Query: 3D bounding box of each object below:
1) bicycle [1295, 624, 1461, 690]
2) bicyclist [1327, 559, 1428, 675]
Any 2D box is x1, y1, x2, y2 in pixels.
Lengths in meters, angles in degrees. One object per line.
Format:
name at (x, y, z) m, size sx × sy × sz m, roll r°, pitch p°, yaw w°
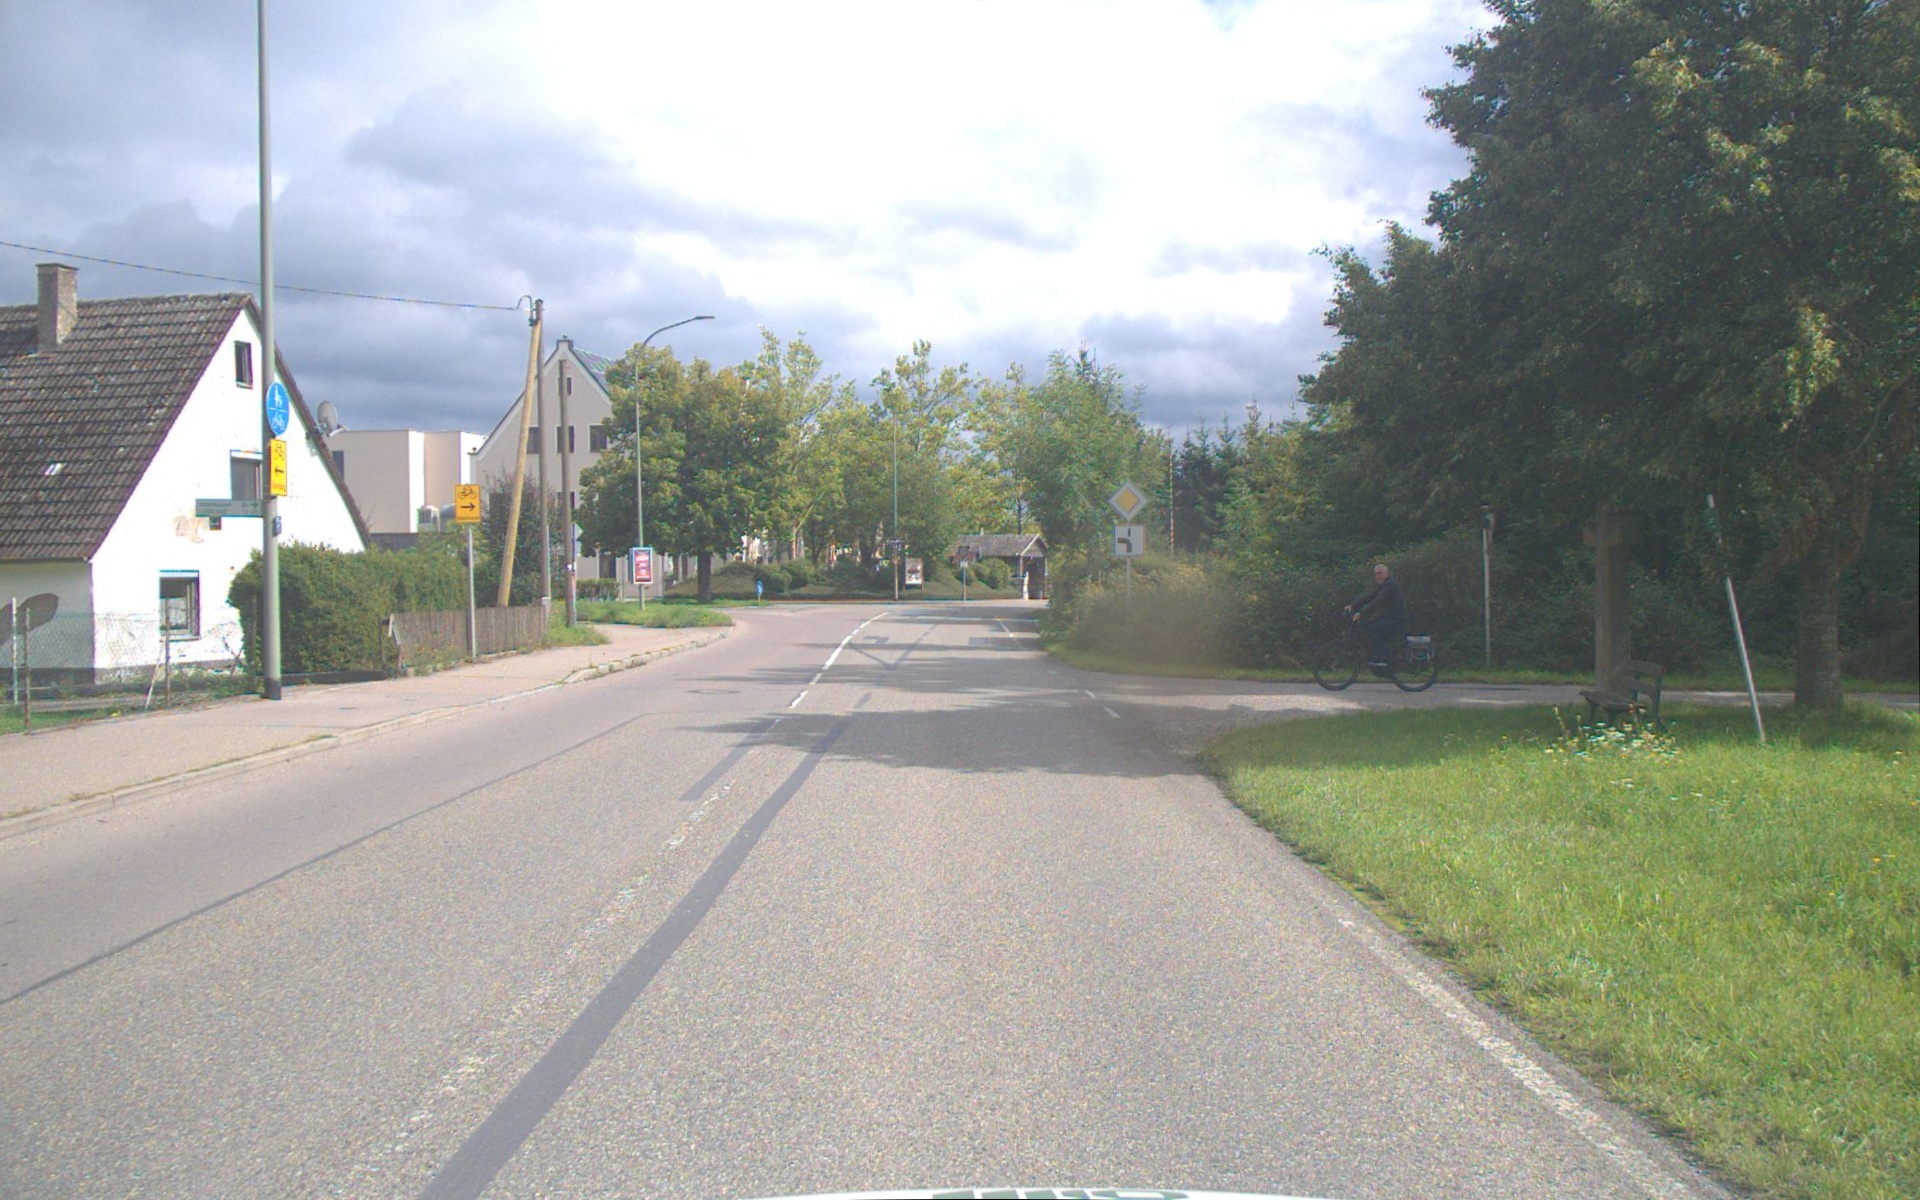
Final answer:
bicycle at (6.005, 0.802, 23.804) m, size 2.080 × 0.879 × 1.050 m, roll 0°, pitch 1°, yaw -15°
bicyclist at (5.992, 0.234, 23.788) m, size 1.000 × 1.613 × 1.050 m, roll 1°, pitch 1°, yaw -15°
